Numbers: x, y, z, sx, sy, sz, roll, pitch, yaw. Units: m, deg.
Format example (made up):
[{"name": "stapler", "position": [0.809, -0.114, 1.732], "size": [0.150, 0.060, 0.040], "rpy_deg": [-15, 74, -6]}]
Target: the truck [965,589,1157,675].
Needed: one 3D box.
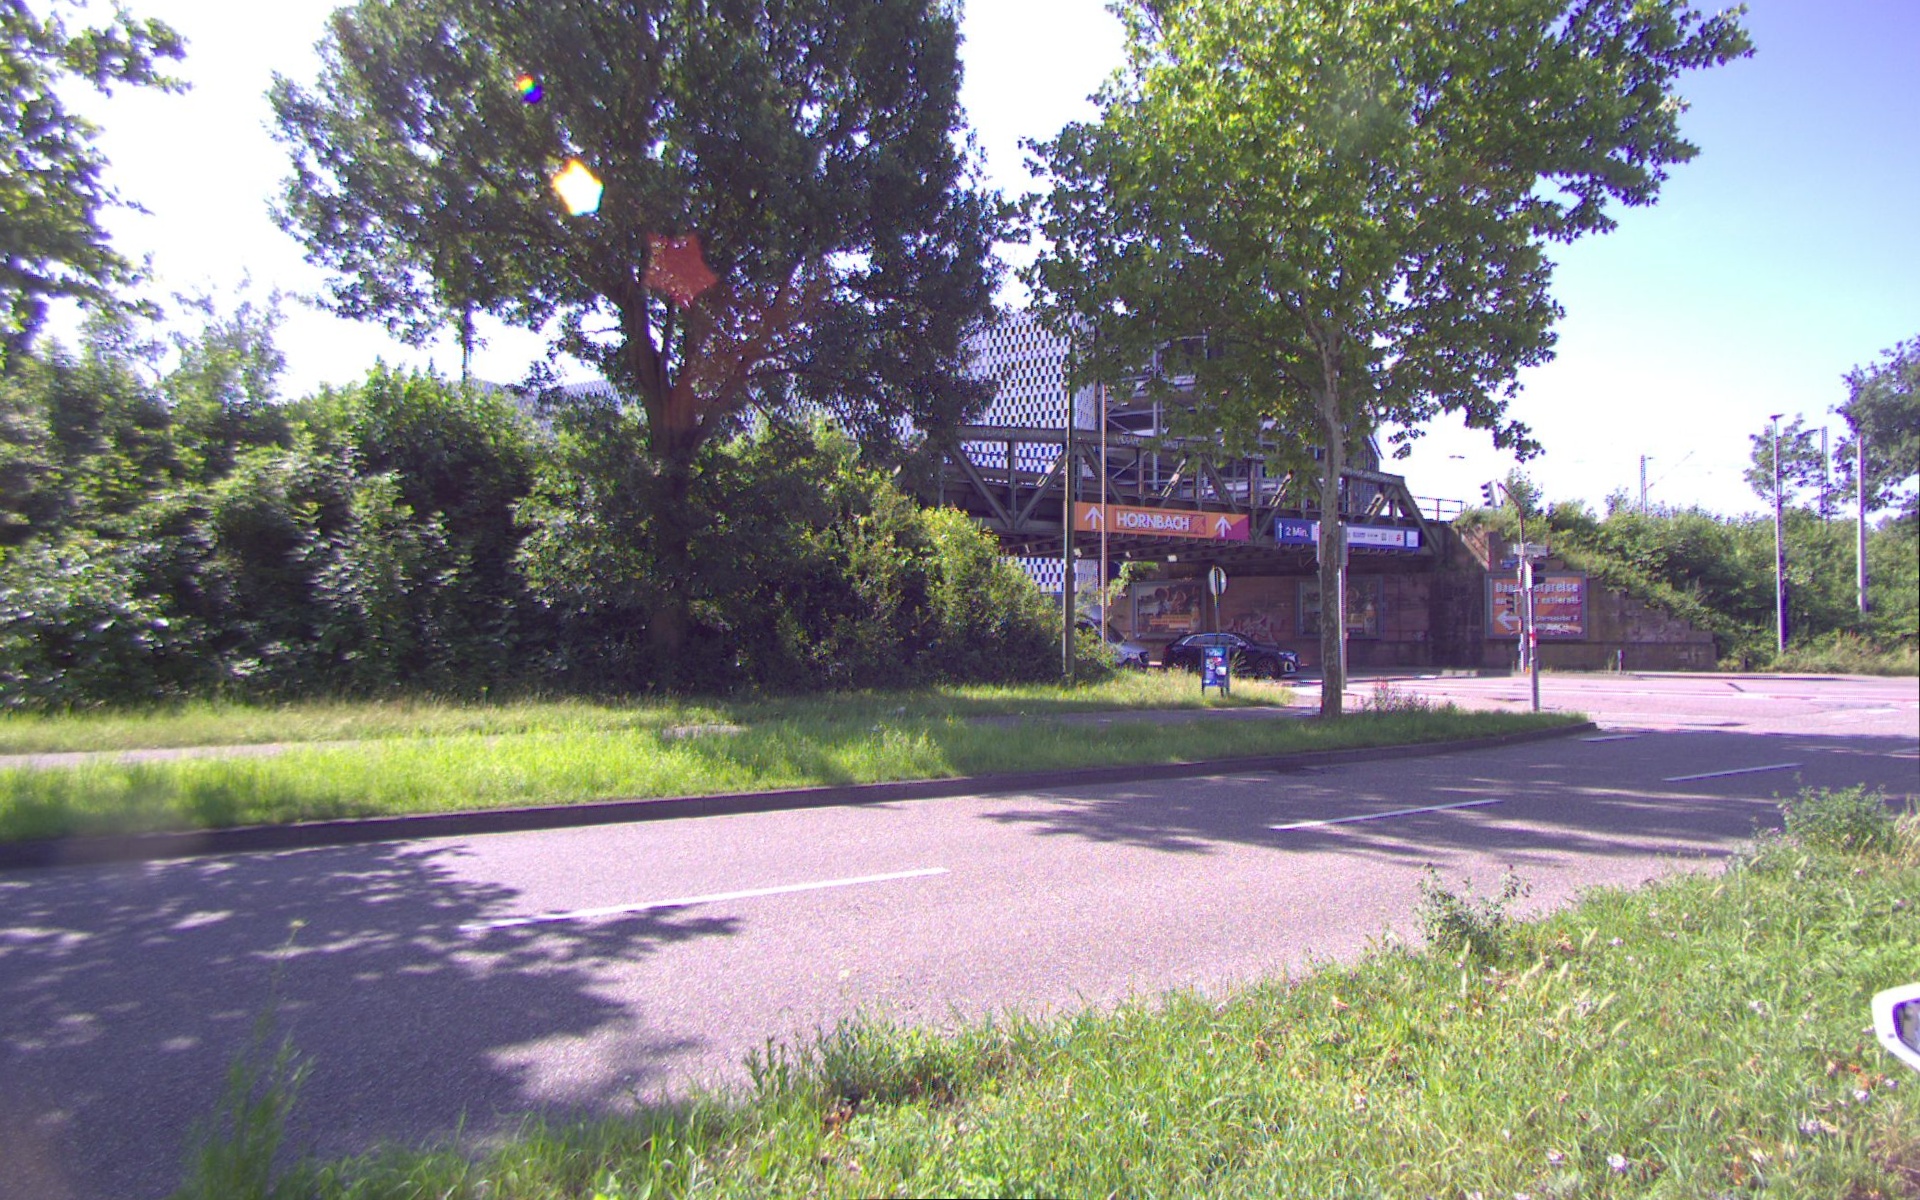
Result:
[{"name": "truck", "position": [3.461, 1.036, 34.768], "size": [6.286, 2.748, 1.998], "rpy_deg": [1, -1, 26]}]

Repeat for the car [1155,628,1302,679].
[{"name": "car", "position": [9.685, 1.899, 36.303], "size": [4.957, 1.617, 1.526], "rpy_deg": [1, -1, 24]}]
